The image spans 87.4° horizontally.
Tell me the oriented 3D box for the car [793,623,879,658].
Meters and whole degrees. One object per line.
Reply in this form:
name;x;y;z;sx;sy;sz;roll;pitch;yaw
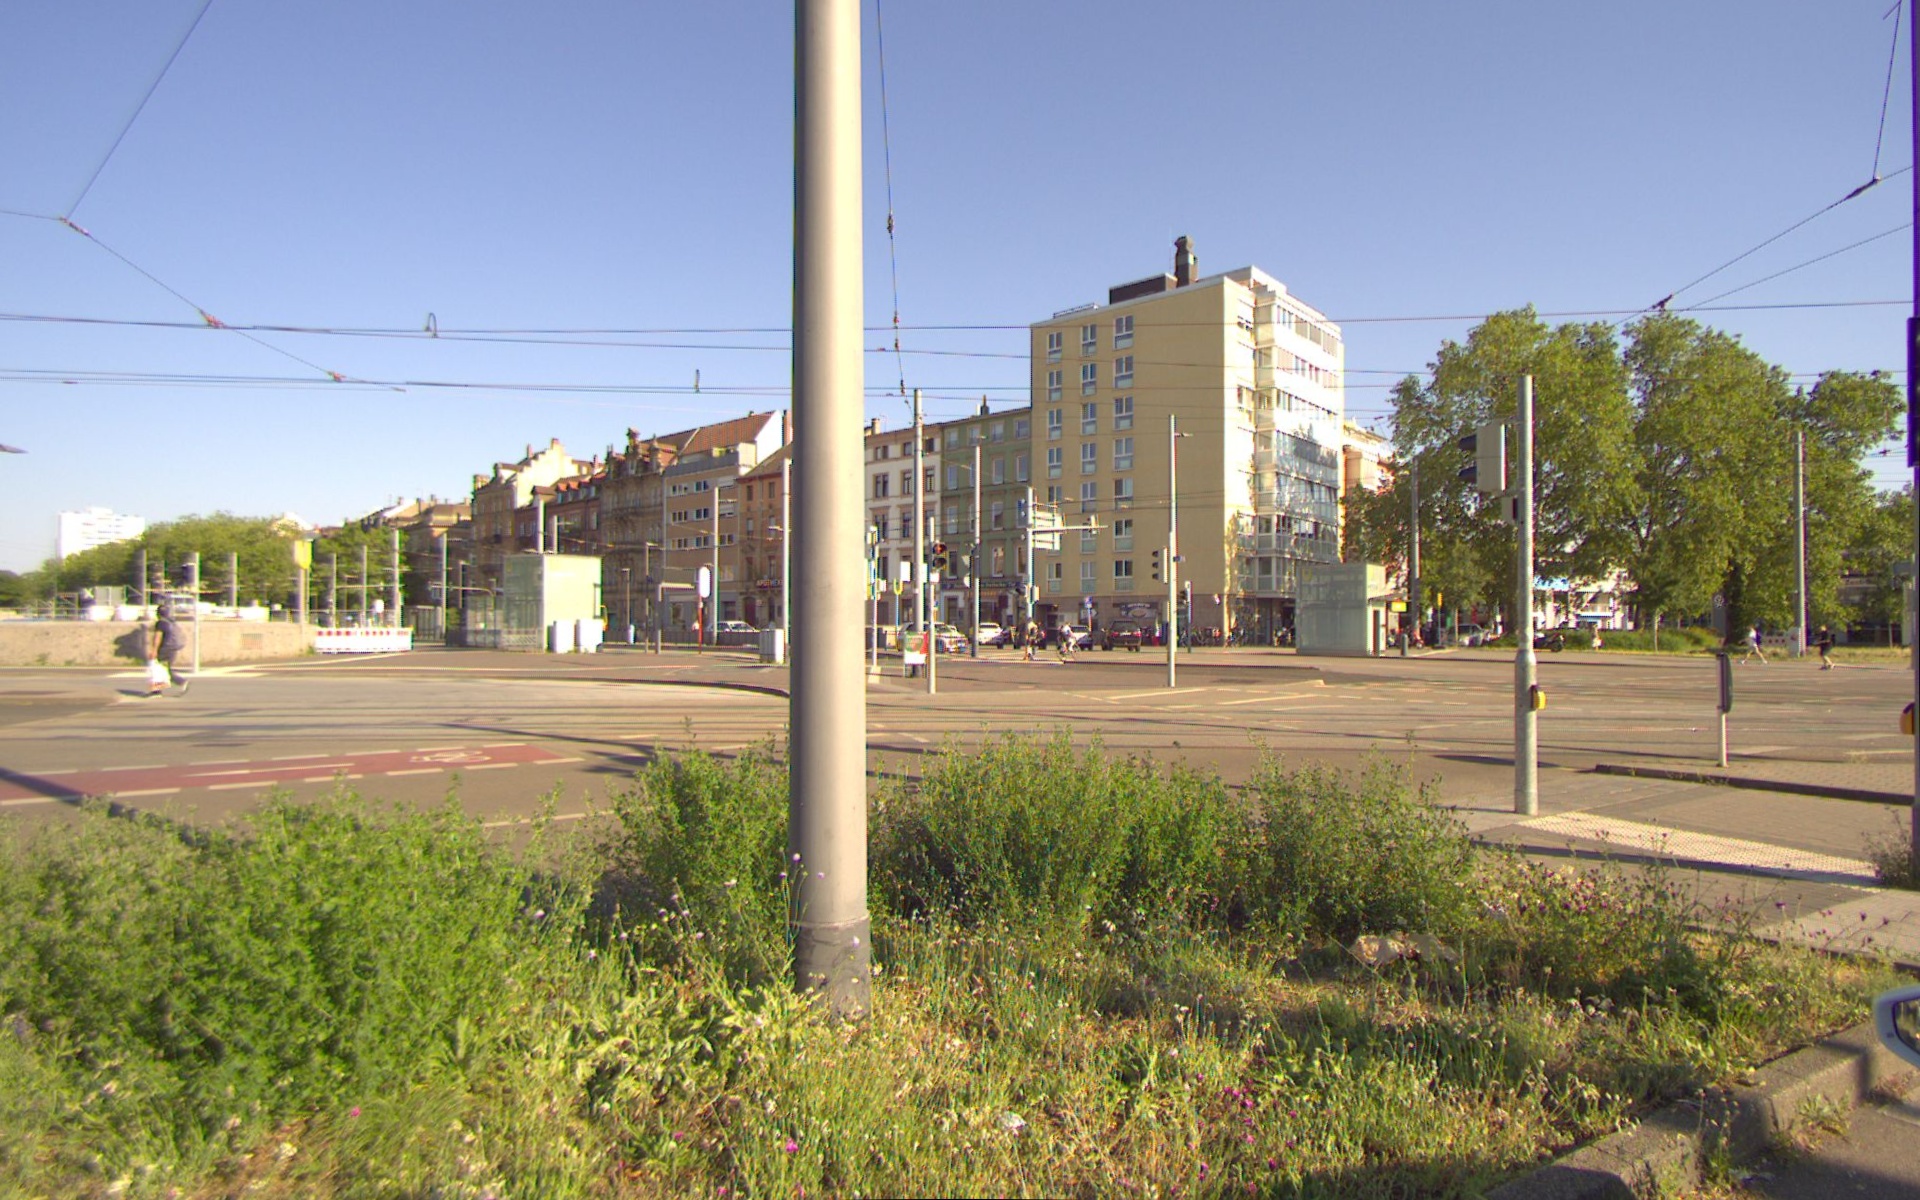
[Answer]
car;-6.680;2.134;53.867;4.644;1.684;1.780;2;0;36

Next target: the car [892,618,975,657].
car;-1.339;1.806;49.121;3.943;1.684;1.776;1;0;43

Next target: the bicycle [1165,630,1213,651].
bicycle;14.410;2.517;63.226;3.003;1.167;0.637;1;0;44

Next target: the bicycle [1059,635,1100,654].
bicycle;8.207;3.041;68.960;3.003;1.167;0.637;1;0;44

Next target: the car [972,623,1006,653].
car;1.875;2.387;63.860;1.960;1.728;4.001;2;0;4

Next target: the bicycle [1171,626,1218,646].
bicycle;14.870;2.285;63.797;3.003;1.167;0.637;1;0;44

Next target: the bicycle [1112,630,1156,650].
bicycle;11.455;2.635;66.115;3.003;1.167;0.637;1;0;44

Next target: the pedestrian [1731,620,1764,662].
pedestrian;32.984;1.726;42.071;0.747;1.728;0.793;2;0;-22

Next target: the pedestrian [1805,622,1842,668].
pedestrian;33.101;1.712;38.528;0.747;1.728;0.793;2;0;-22

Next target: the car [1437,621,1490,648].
car;31.997;2.202;63.807;3.973;1.588;1.753;2;0;-44

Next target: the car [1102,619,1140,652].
car;9.172;1.977;57.464;1.684;1.728;4.001;2;0;4

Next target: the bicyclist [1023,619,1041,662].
bicyclist;2.950;1.661;41.309;0.653;1.706;0.980;2;0;2

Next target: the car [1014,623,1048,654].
car;4.323;2.315;61.530;1.960;1.728;4.001;2;0;4

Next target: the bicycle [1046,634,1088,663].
bicycle;4.322;1.947;40.625;0.617;1.104;1.914;2;0;44

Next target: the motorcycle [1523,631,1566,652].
motorcycle;29.134;2.057;50.106;1.753;0.926;0.676;2;0;41

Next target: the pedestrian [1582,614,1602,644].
pedestrian;36.899;1.715;58.629;0.491;1.716;0.852;2;0;-32

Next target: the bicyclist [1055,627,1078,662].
bicyclist;4.299;1.800;40.576;0.617;1.368;0.658;2;0;44

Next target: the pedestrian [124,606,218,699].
pedestrian;-15.201;0.994;19.384;0.985;1.706;1.042;2;0;-6

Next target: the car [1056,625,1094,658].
car;6.744;2.417;59.296;1.960;1.728;4.001;2;0;4
